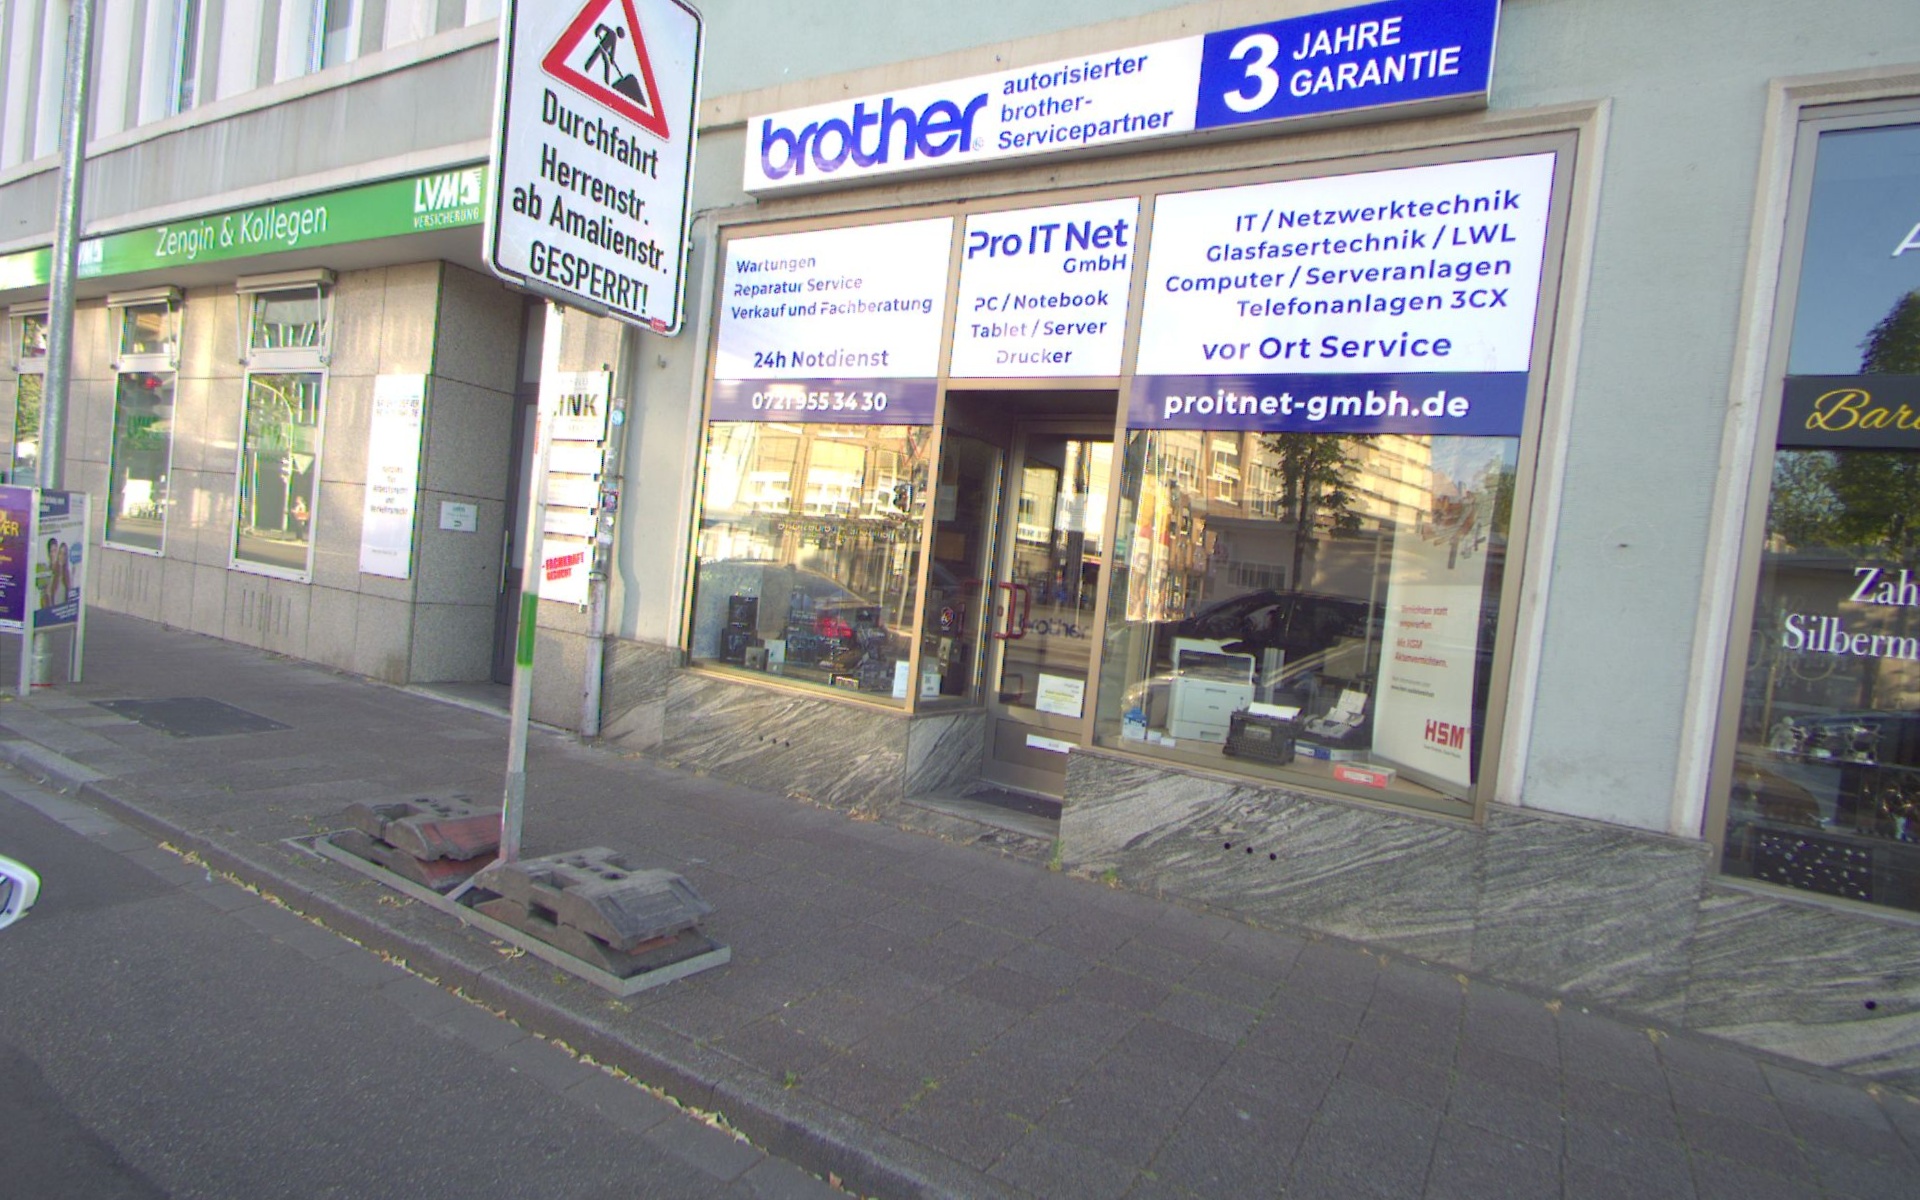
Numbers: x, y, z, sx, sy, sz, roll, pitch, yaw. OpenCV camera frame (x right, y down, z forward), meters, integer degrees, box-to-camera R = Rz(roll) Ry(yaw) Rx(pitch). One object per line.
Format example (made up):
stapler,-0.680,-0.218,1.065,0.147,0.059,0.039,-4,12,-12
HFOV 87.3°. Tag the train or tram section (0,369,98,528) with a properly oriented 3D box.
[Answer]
train or tram section,-26.294,-4.057,22.384,3.024,3.916,12.647,6,1,1

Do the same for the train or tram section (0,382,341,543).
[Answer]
train or tram section,-25.949,-4.227,33.960,3.024,3.861,10.452,6,1,2
